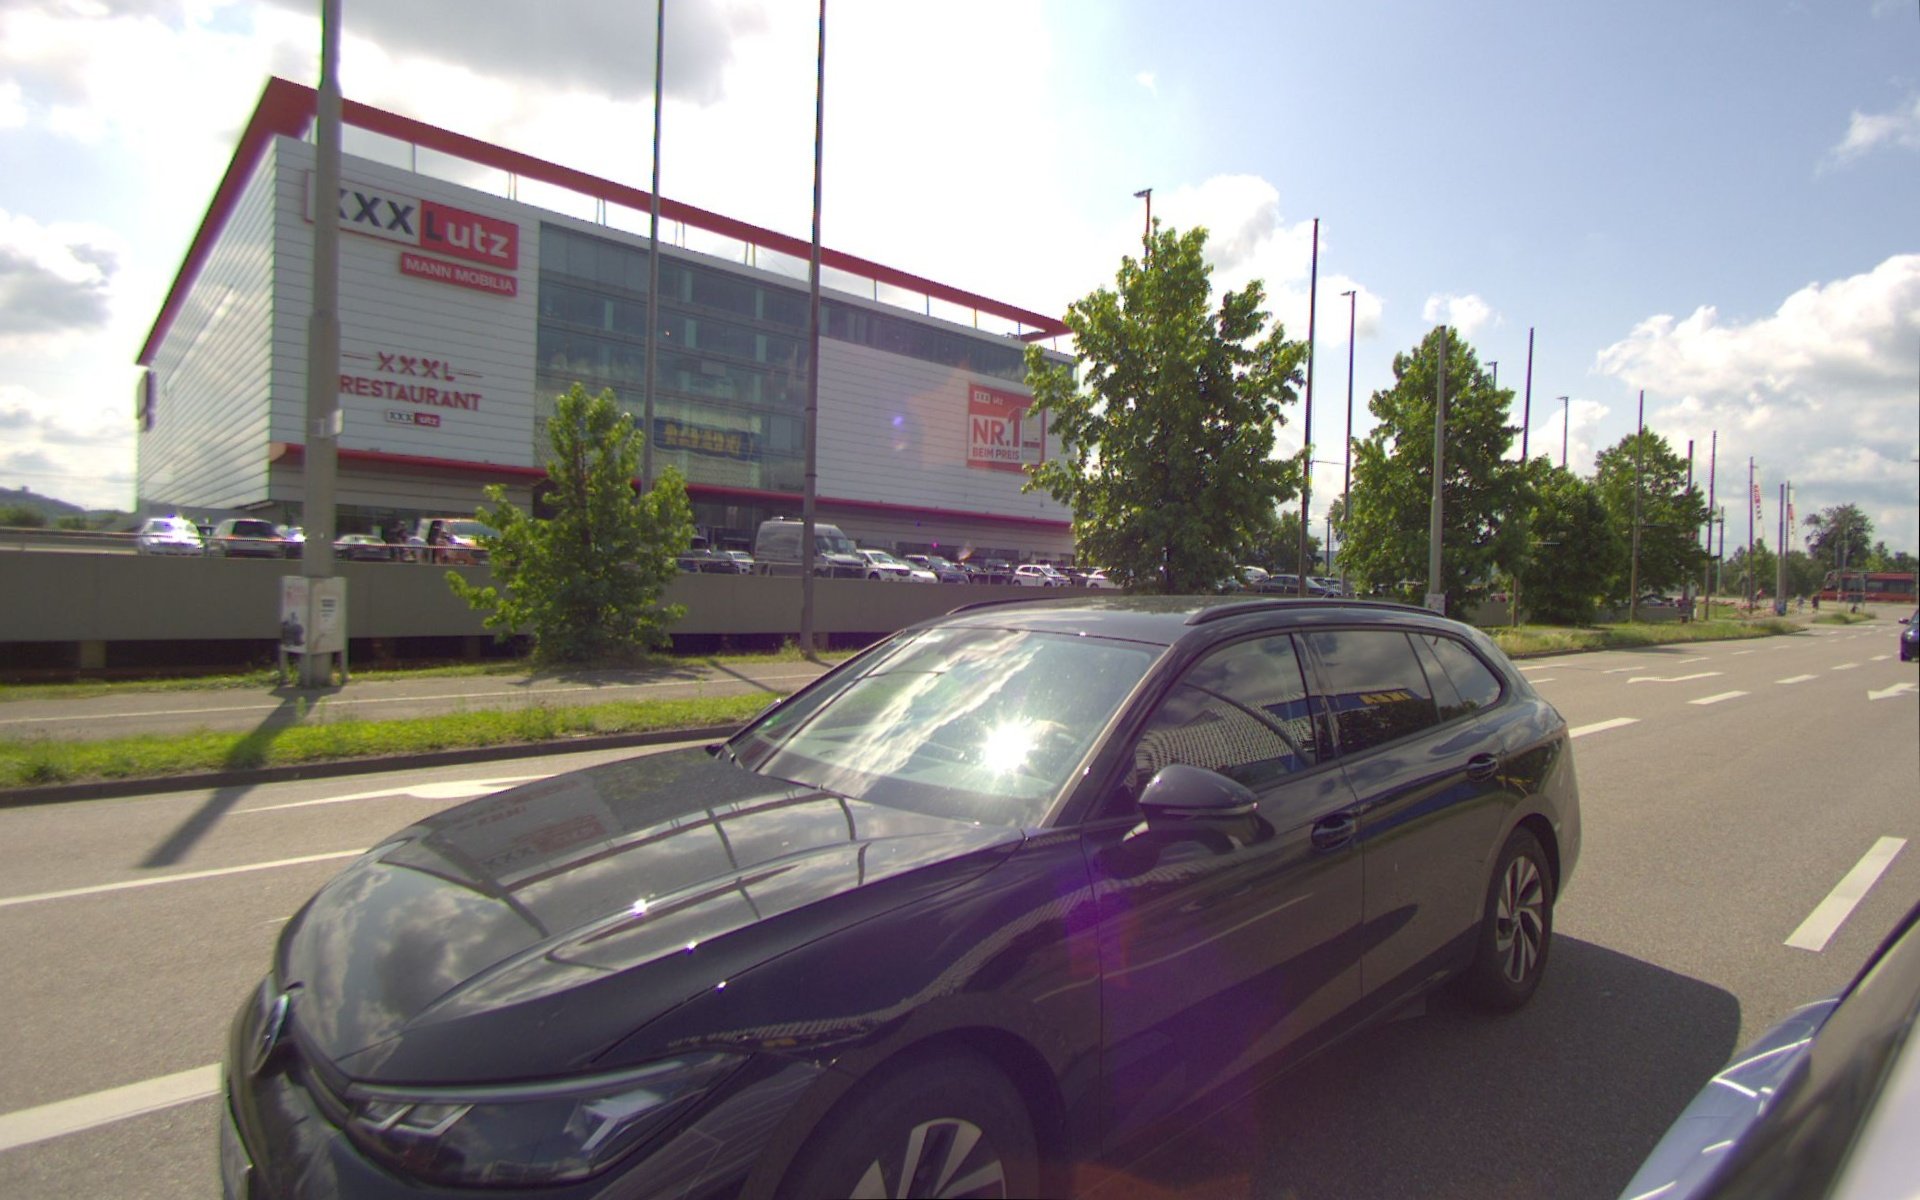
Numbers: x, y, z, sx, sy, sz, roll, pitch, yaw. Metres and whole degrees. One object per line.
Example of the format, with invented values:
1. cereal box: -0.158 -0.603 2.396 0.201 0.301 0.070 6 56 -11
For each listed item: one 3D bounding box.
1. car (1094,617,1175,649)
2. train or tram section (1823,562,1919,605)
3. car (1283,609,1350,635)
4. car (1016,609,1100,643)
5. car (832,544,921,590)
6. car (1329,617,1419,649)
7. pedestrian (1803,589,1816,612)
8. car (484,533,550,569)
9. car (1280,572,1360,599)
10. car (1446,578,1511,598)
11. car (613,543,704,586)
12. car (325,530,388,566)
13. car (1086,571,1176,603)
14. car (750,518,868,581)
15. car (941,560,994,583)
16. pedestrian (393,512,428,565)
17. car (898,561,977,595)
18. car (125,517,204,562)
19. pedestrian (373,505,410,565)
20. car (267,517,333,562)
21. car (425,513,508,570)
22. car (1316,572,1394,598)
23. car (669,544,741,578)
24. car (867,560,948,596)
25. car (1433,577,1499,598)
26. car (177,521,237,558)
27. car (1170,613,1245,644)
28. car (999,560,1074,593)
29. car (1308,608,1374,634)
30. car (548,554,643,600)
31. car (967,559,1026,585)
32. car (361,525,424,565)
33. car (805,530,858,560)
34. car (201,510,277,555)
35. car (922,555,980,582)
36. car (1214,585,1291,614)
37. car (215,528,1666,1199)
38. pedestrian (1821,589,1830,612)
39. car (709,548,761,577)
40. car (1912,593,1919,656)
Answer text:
1. car: 10.074 1.855 58.596 1.922 1.625 4.414 0 1 -43
2. train or tram section: 103.443 -1.786 111.046 3.669 4.618 13.078 -1 1 -43
3. car: 25.708 1.574 73.061 1.534 1.786 4.412 -1 1 -44
4. car: 5.121 1.328 53.400 1.919 1.625 4.420 0 1 -38
5. car: -3.527 -1.330 42.181 1.718 1.816 3.995 -1 1 -40
6. car: 23.897 1.851 58.503 1.921 1.625 4.416 0 1 -41
7. pedestrian: 69.696 0.026 83.006 0.699 1.836 0.539 0 0 32
8. car: -22.338 -2.434 50.976 1.920 1.625 4.418 0 1 -40
9. car: 22.624 -0.917 63.717 1.921 1.625 4.416 0 1 -41
10. car: 42.804 -1.026 83.583 1.921 1.625 4.416 0 1 -41
11. car: -12.113 -1.376 40.463 1.920 1.625 4.418 0 1 -40
12. car: -27.589 -2.319 46.214 1.534 1.489 4.412 0 1 -44
13. car: 8.845 -0.684 52.667 1.921 1.625 4.416 0 1 -41
14. car: -6.183 -1.967 40.814 1.721 2.312 5.784 -1 1 -44
15. car: 0.496 -2.058 73.400 1.916 1.625 4.428 0 1 -30
16. pedestrian: -18.754 -2.087 34.547 1.014 1.764 0.698 0 0 36
17. car: -1.197 -1.097 50.651 1.917 1.625 4.425 0 1 -33
18. car: -29.764 -2.209 37.821 1.922 1.489 4.412 0 1 -44
19. pedestrian: -19.667 -2.243 35.019 0.895 2.039 0.706 0 0 4
20. car: -28.963 -2.603 44.390 1.884 1.772 3.993 -1 1 -41
21. car: -16.987 -1.946 34.760 1.881 1.772 4.187 -1 1 -36
22. car: 26.078 -0.982 66.961 1.921 1.625 4.416 0 1 -41
23. car: -13.332 -1.991 52.747 1.920 1.625 4.418 0 1 -40
24. car: -2.558 -1.042 48.535 1.917 1.625 4.425 0 1 -33
25. car: 40.488 -0.984 81.051 1.921 1.625 4.416 0 1 -41
26. car: -37.982 -3.005 51.024 1.922 1.625 4.412 0 1 -44
27. car: 15.445 1.766 63.334 1.534 1.786 4.412 -1 1 -44
28. car: 4.337 -1.300 57.707 1.534 1.786 4.412 -1 1 -44
29. car: 28.466 1.565 75.743 1.534 1.786 4.412 -1 1 -44
30. car: -13.899 -0.862 38.446 1.921 1.625 4.416 0 1 -41
31. car: 2.396 -1.848 67.730 1.916 1.625 4.428 0 1 -30
32. car: -27.531 -2.618 49.050 1.884 1.772 3.993 -1 1 -41
33. car: -8.058 -3.405 63.334 1.915 1.625 4.430 0 1 -27
34. car: -29.401 -2.698 41.231 1.922 1.625 4.412 0 1 -44
35. car: -0.641 -1.943 64.328 1.915 1.625 4.430 0 1 -27
36. car: 16.850 -0.035 58.489 1.746 1.624 3.996 -1 1 -39
37. car: 0.655 0.645 3.523 5.114 1.496 1.811 0 1 -42
38. pedestrian: 70.422 0.010 82.348 0.524 1.836 0.668 0 0 39
39. car: -13.311 -2.190 59.682 1.915 1.625 4.430 0 1 -27
40. car: 25.556 0.638 25.727 4.195 1.549 1.605 1 1 -42
